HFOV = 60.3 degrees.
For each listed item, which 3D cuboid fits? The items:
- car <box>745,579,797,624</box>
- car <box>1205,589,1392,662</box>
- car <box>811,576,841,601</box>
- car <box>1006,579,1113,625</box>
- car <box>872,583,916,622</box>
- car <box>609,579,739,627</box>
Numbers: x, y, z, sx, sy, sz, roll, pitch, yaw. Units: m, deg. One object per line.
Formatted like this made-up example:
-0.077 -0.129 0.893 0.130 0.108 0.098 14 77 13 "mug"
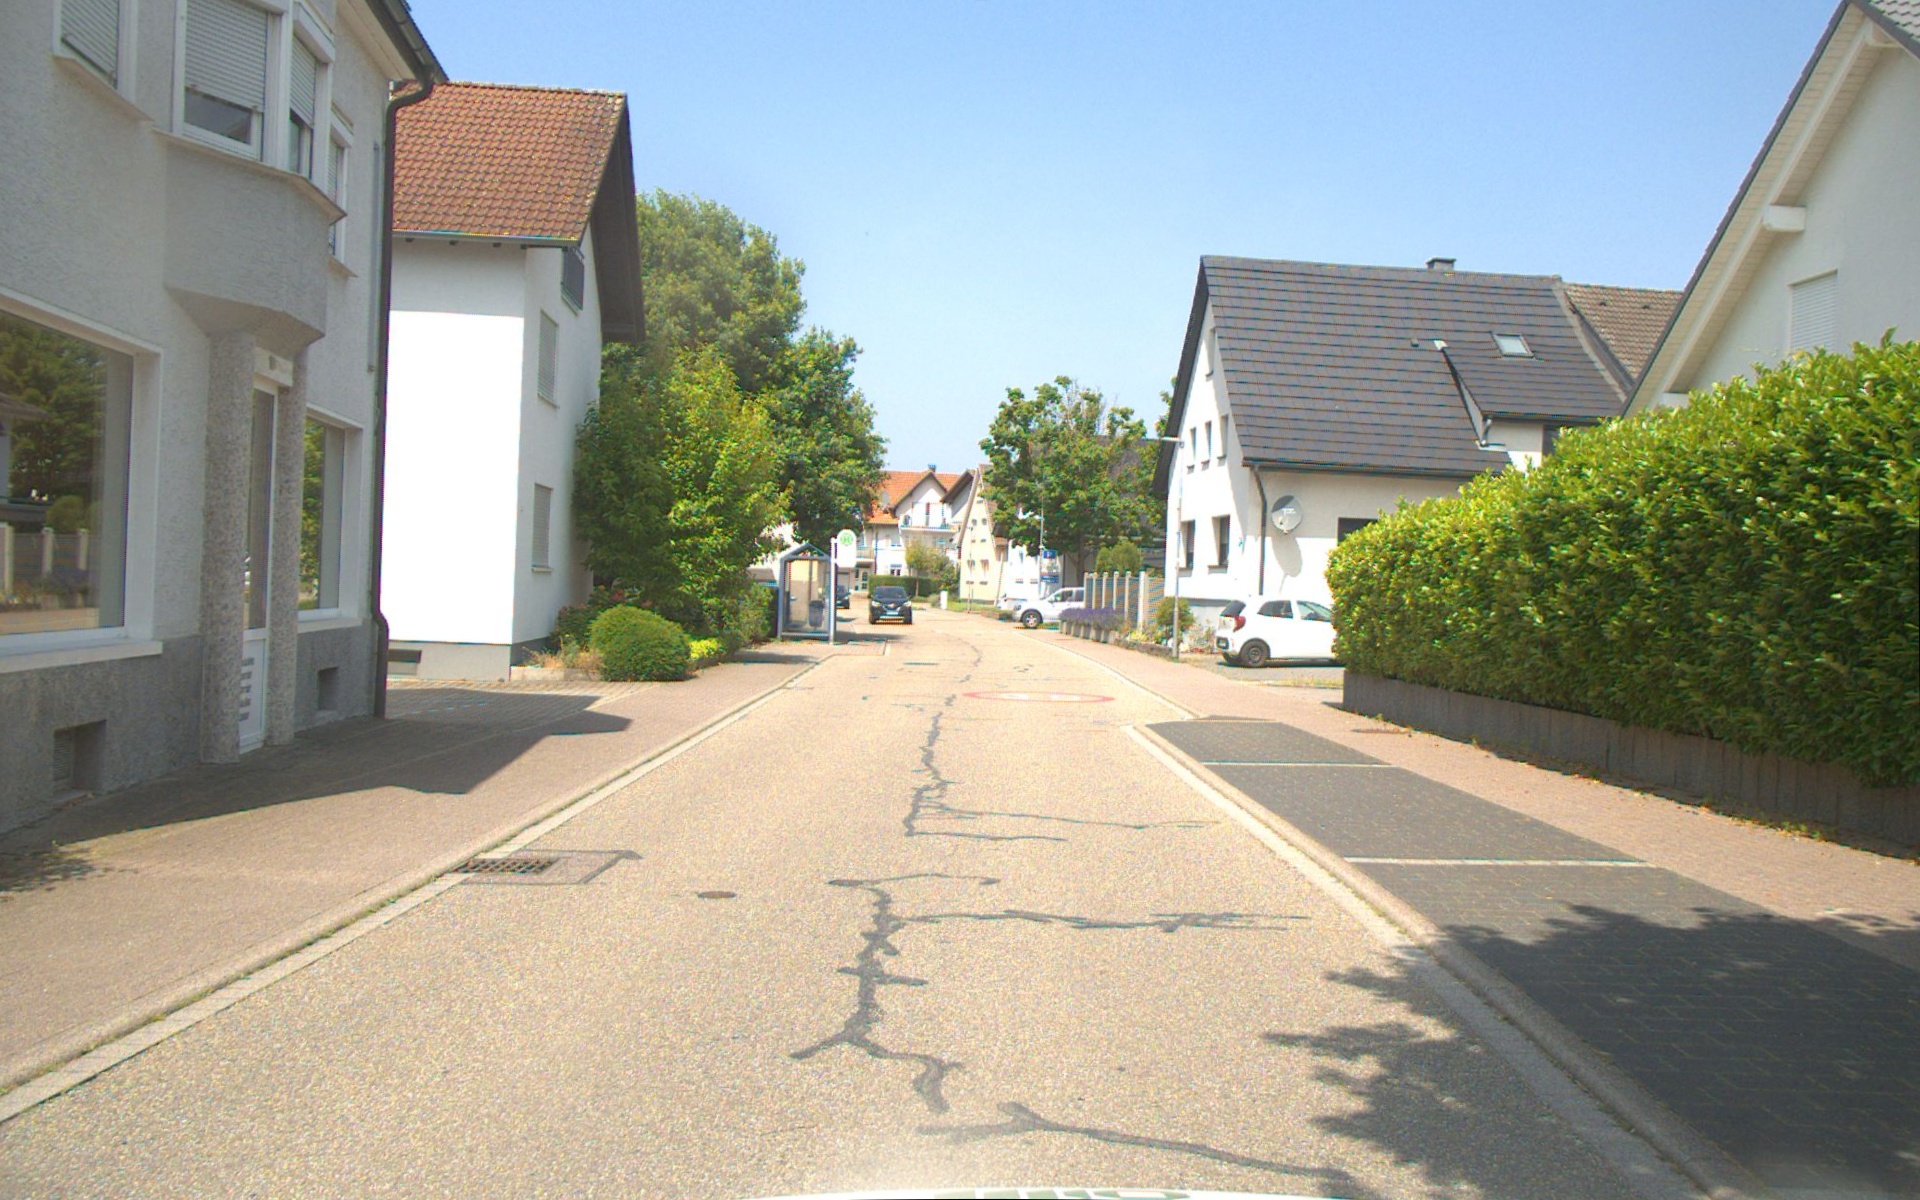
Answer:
-6.728 0.040 58.993 1.744 1.459 4.051 2 1 -6 "car"
7.268 0.529 35.733 3.588 1.500 1.763 0 1 -8 "car"
-8.466 -0.723 104.208 1.596 1.512 3.992 1 1 -9 "car"
4.082 0.057 68.120 4.229 1.798 1.891 -1 1 -2 "car"
-2.903 0.094 71.796 1.741 1.652 4.101 1 1 -5 "car"
-9.372 0.082 54.412 4.078 1.565 1.772 0 1 -5 "car"
